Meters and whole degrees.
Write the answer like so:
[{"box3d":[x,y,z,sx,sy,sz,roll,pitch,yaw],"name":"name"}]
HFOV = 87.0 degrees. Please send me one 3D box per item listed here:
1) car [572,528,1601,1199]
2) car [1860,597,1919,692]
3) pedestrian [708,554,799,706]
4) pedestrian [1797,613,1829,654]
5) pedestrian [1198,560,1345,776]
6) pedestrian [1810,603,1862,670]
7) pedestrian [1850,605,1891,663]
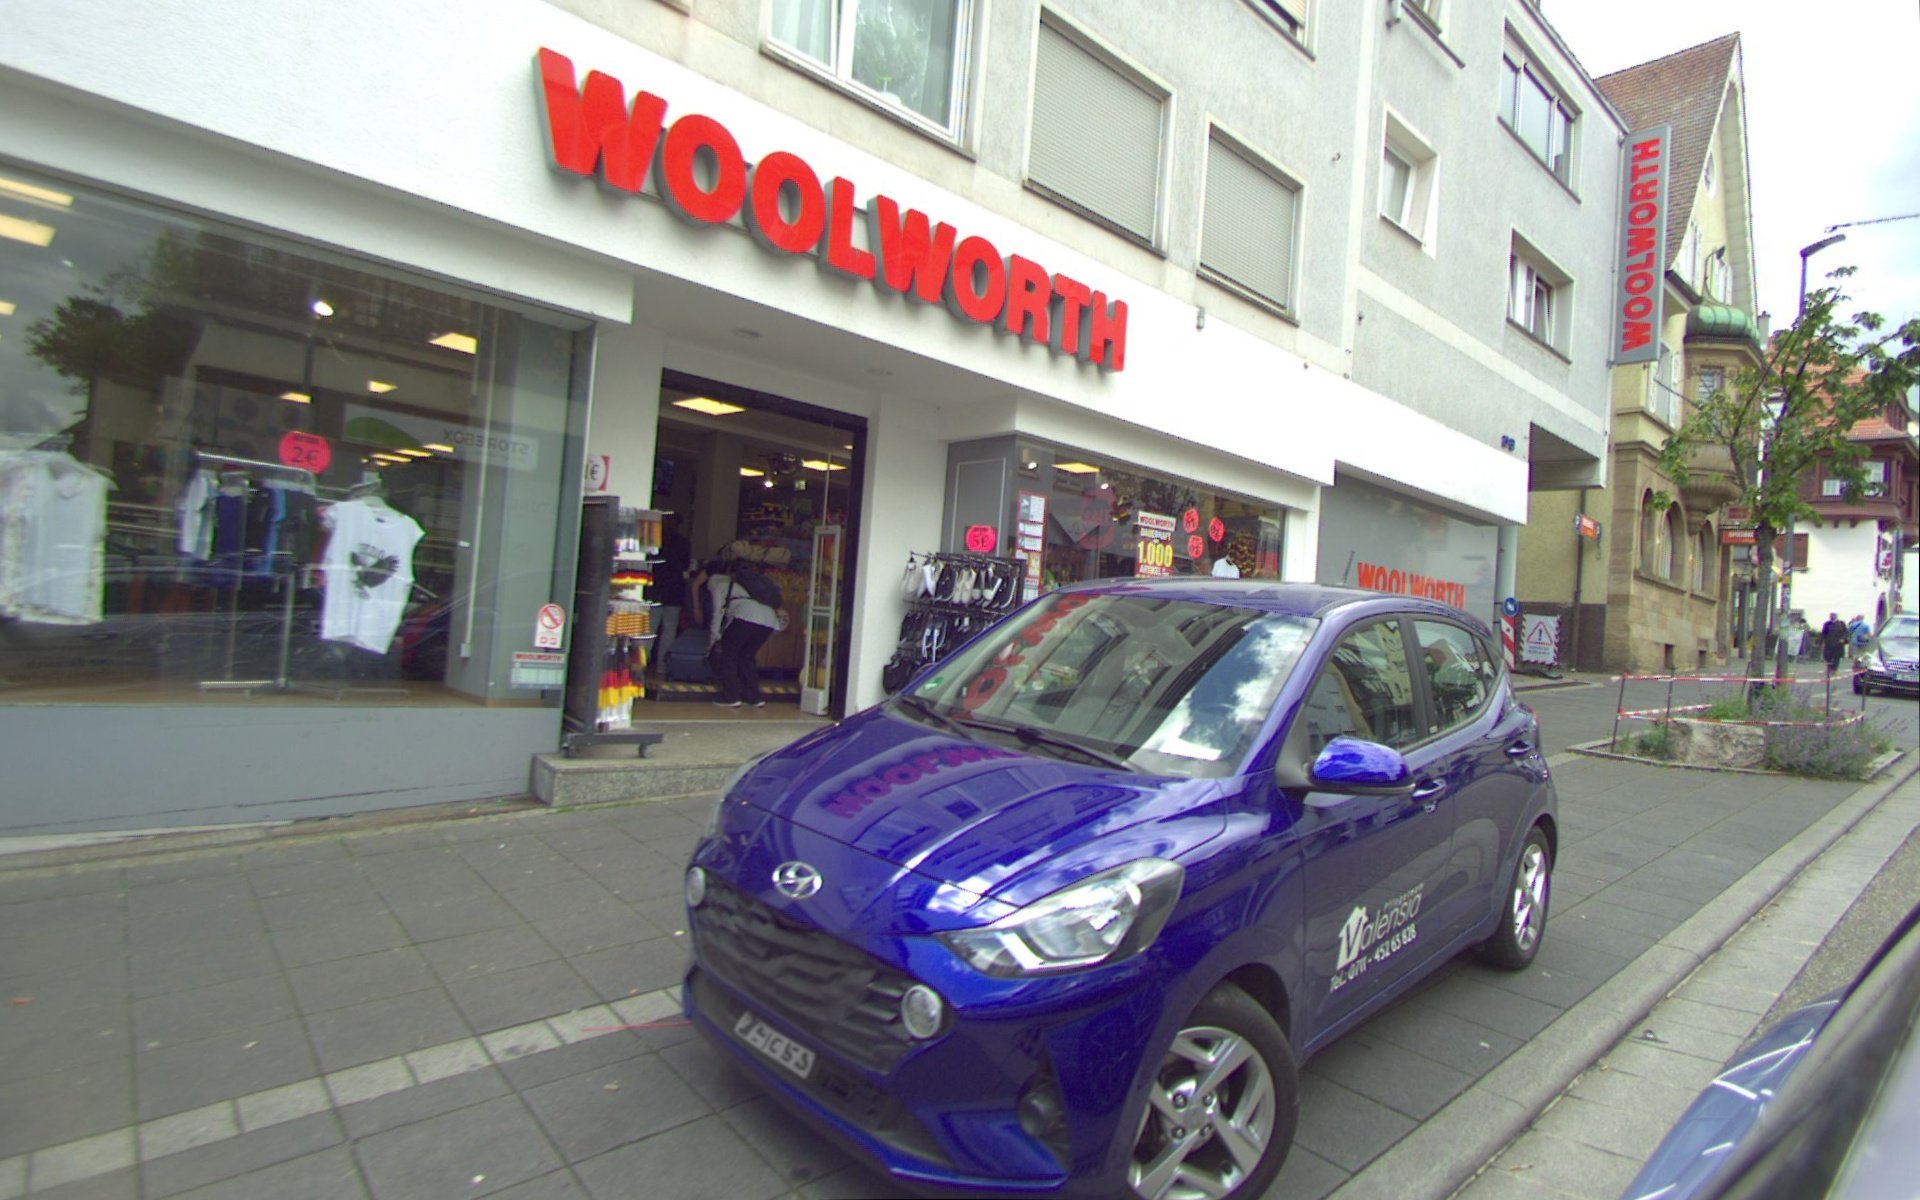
[{"box3d":[0.813,0.603,3.655,1.749,1.515,3.740,6,4,44],"name":"car"},{"box3d":[18.402,0.857,18.856,3.730,1.627,1.753,2,2,-38],"name":"car"},{"box3d":[-1.827,0.250,8.948,0.504,1.281,0.578,2,1,44],"name":"pedestrian"},{"box3d":[35.998,1.401,42.697,0.853,1.665,0.775,2,1,-35],"name":"pedestrian"},{"box3d":[2.462,0.497,7.995,0.804,1.580,0.757,2,0,-44],"name":"pedestrian"},{"box3d":[22.872,0.936,26.429,0.786,1.687,0.827,2,0,-35],"name":"pedestrian"},{"box3d":[28.817,1.070,32.029,1.034,1.748,0.798,2,0,-41],"name":"pedestrian"}]
